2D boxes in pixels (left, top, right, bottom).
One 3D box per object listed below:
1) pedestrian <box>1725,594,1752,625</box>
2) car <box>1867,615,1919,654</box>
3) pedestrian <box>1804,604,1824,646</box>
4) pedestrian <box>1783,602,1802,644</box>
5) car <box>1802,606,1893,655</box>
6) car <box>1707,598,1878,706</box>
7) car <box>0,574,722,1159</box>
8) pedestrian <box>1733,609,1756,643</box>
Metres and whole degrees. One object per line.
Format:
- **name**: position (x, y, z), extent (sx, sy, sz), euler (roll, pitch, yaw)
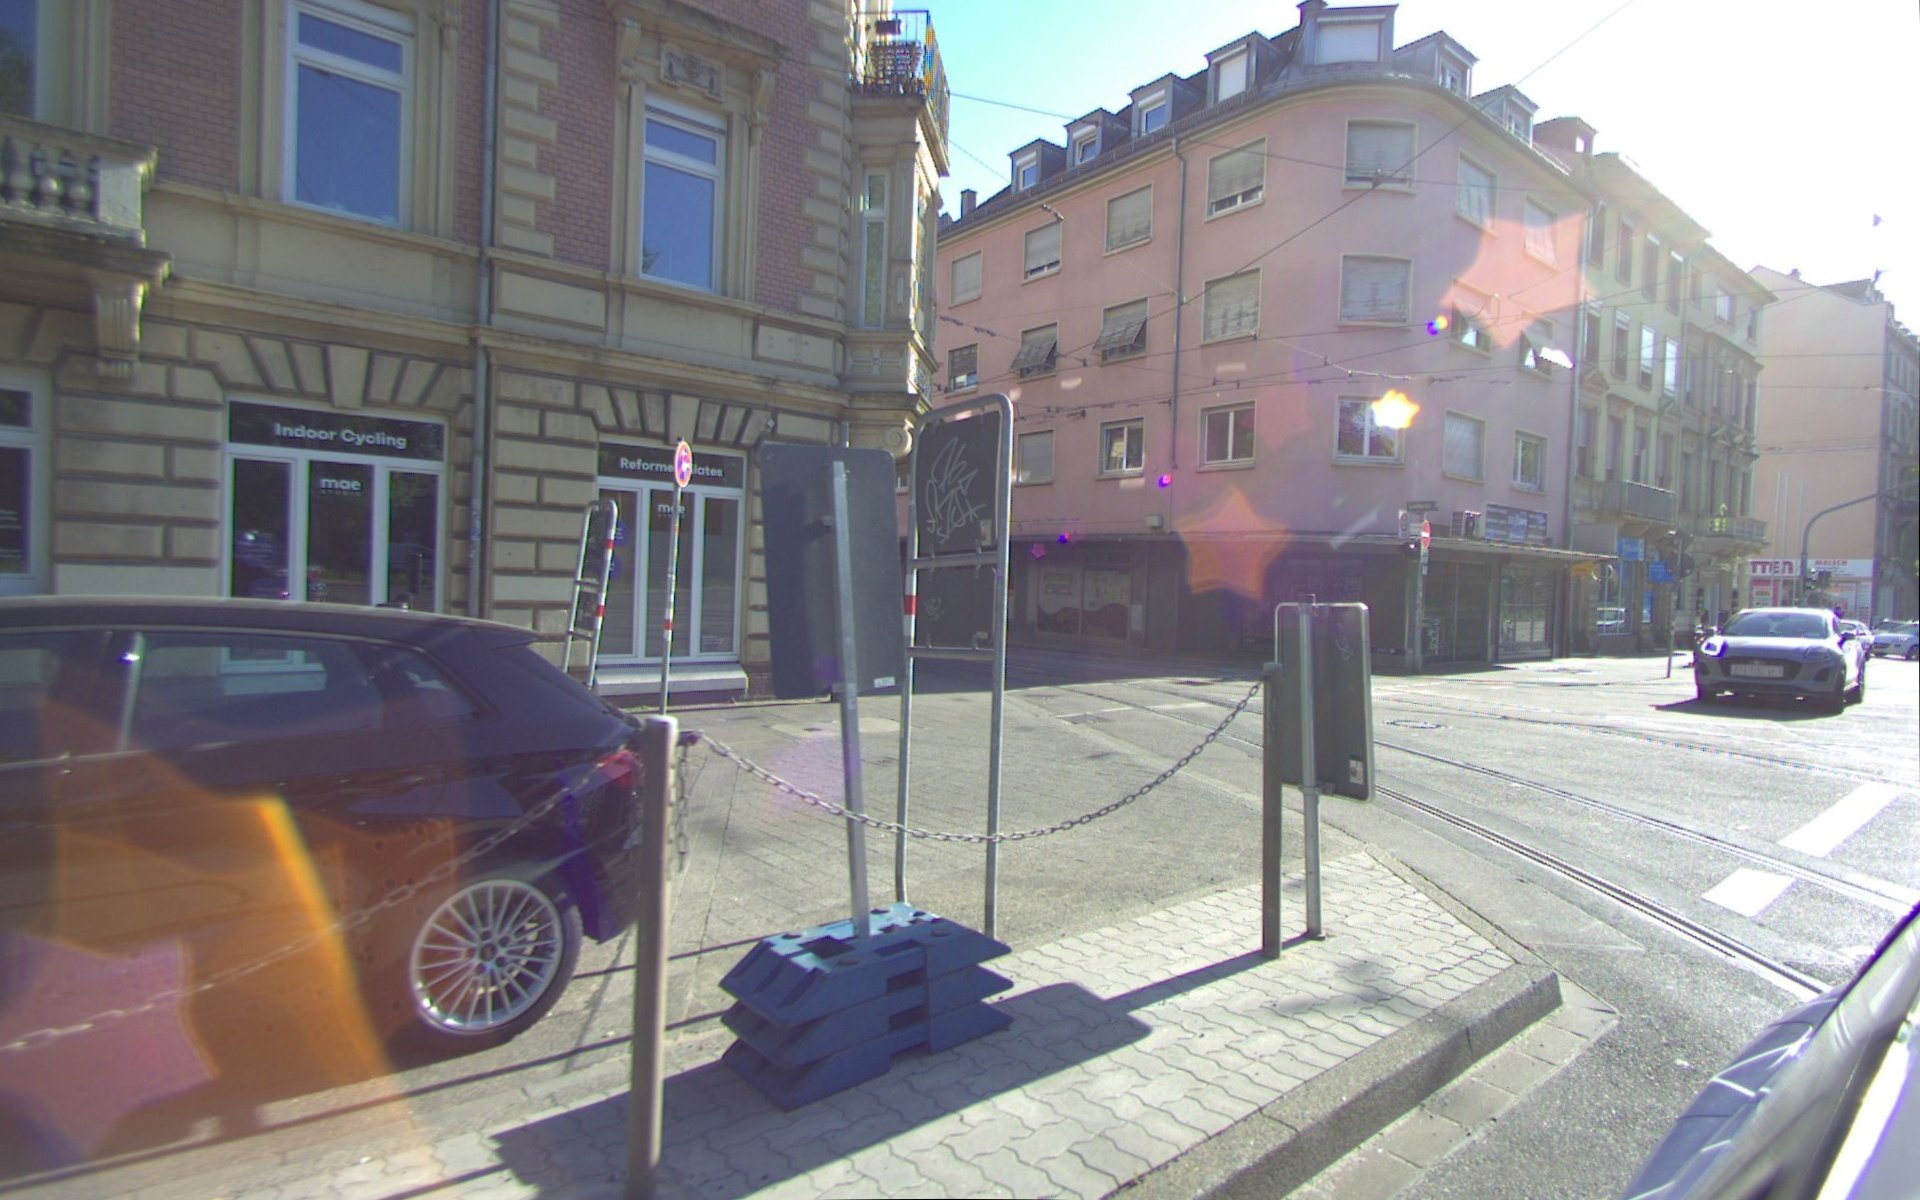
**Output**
- **pedestrian**: position (30.211, 0.381, 39.286), extent (0.485, 1.185, 0.661), euler (1, 0, -25)
- **car**: position (38.912, 1.392, 40.346), extent (3.922, 1.469, 1.817), euler (1, -1, -2)
- **pedestrian**: position (36.419, 1.050, 43.151), extent (0.648, 1.784, 0.495), euler (1, 0, -39)
- **pedestrian**: position (35.877, 0.971, 43.614), extent (0.648, 1.784, 0.495), euler (1, 0, -39)
- **car**: position (31.542, 1.086, 35.939), extent (3.928, 1.537, 1.739), euler (2, 2, -40)
- **car**: position (13.286, 0.763, 16.076), extent (3.905, 1.500, 1.657), euler (2, -1, -44)
- **car**: position (-2.998, 0.652, 3.078), extent (4.094, 1.440, 1.700), euler (2, -1, -39)
- **pedestrian**: position (29.615, 0.980, 38.202), extent (0.647, 1.275, 0.495), euler (1, 0, -36)
